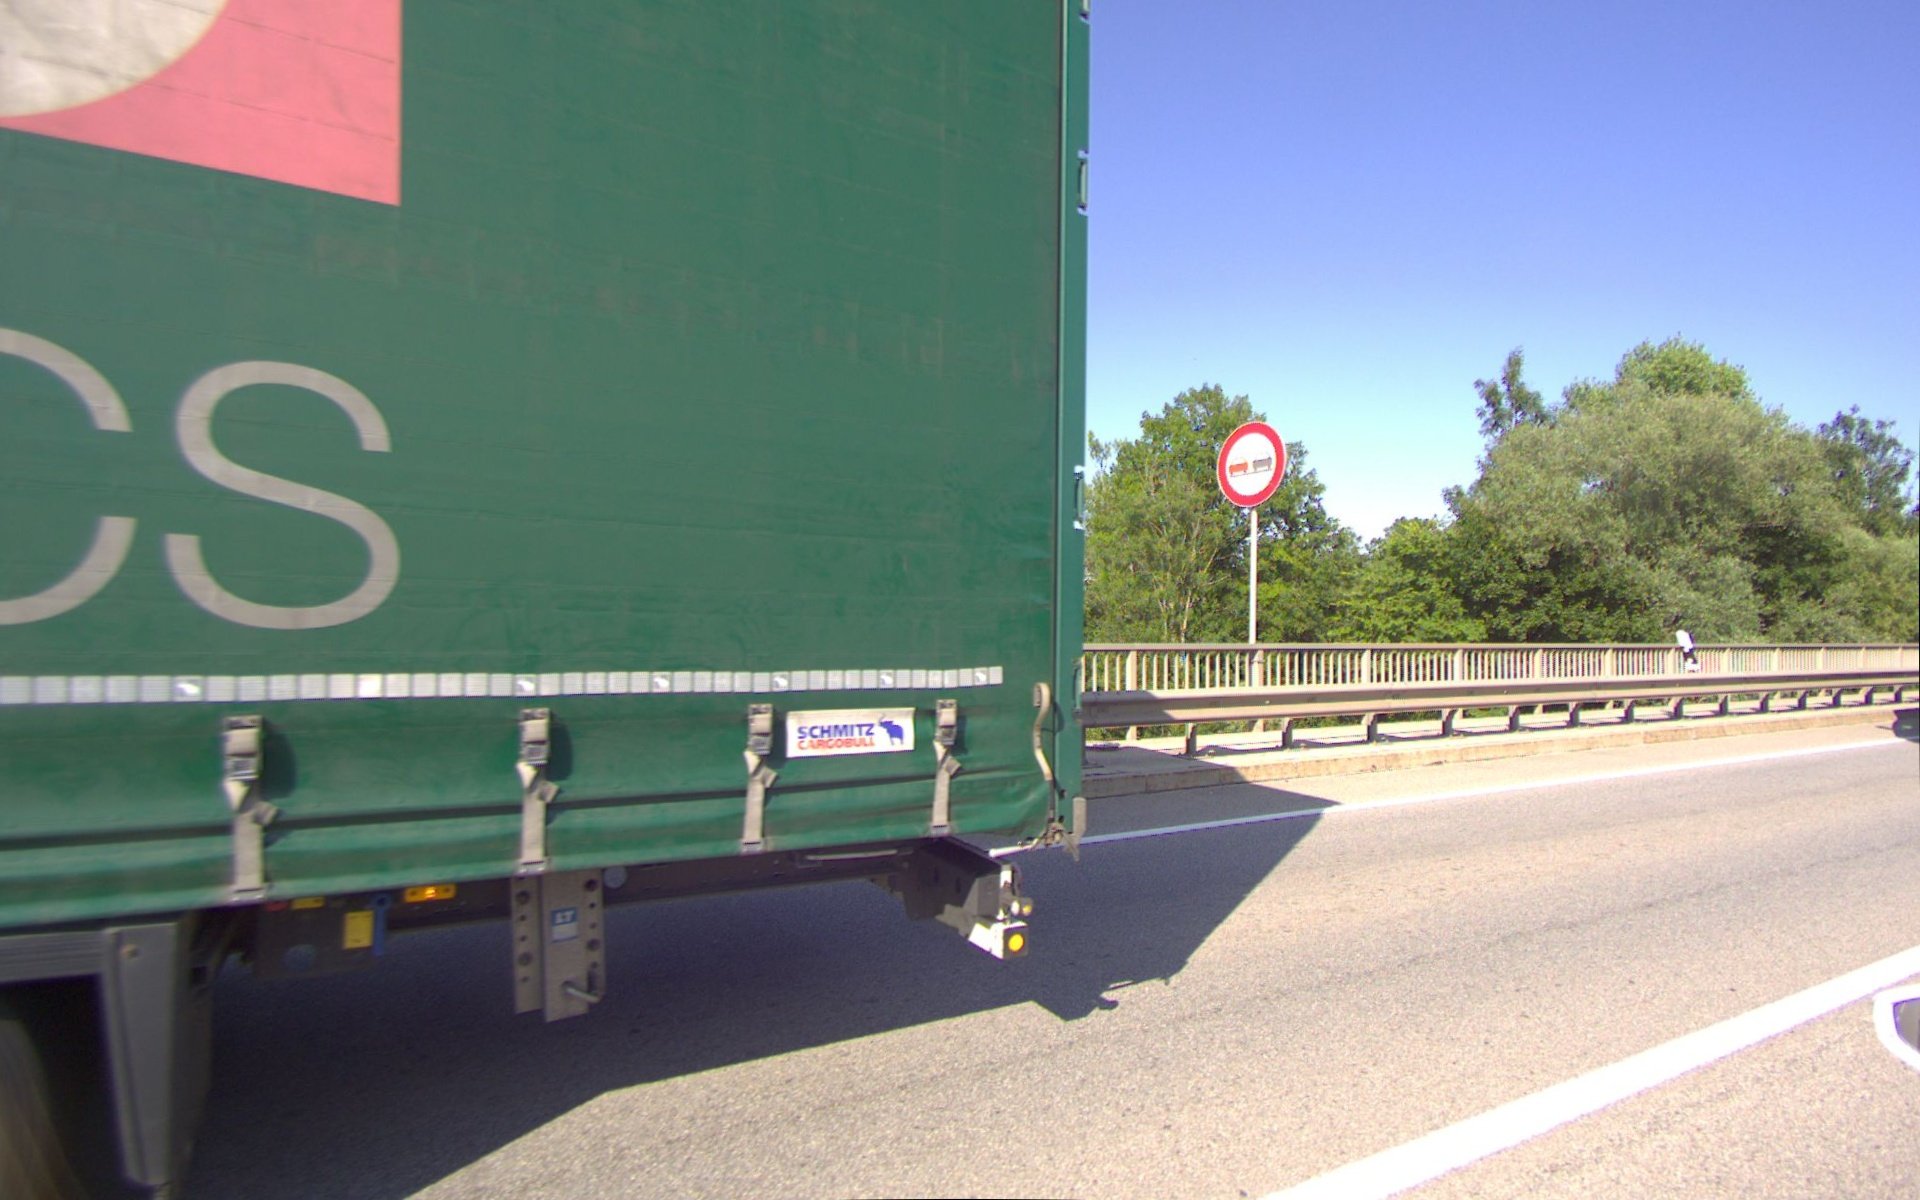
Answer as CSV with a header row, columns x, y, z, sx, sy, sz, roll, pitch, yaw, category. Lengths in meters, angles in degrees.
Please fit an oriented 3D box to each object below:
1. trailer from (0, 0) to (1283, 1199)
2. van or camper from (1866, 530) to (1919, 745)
x,y,z,sx,sy,sz,roll,pitch,yaw,category
-5.680,-0.806,1.162,14.135,4.359,2.893,1,0,-31,trailer
14.992,0.519,13.500,6.330,2.677,2.418,1,-1,-31,van or camper
